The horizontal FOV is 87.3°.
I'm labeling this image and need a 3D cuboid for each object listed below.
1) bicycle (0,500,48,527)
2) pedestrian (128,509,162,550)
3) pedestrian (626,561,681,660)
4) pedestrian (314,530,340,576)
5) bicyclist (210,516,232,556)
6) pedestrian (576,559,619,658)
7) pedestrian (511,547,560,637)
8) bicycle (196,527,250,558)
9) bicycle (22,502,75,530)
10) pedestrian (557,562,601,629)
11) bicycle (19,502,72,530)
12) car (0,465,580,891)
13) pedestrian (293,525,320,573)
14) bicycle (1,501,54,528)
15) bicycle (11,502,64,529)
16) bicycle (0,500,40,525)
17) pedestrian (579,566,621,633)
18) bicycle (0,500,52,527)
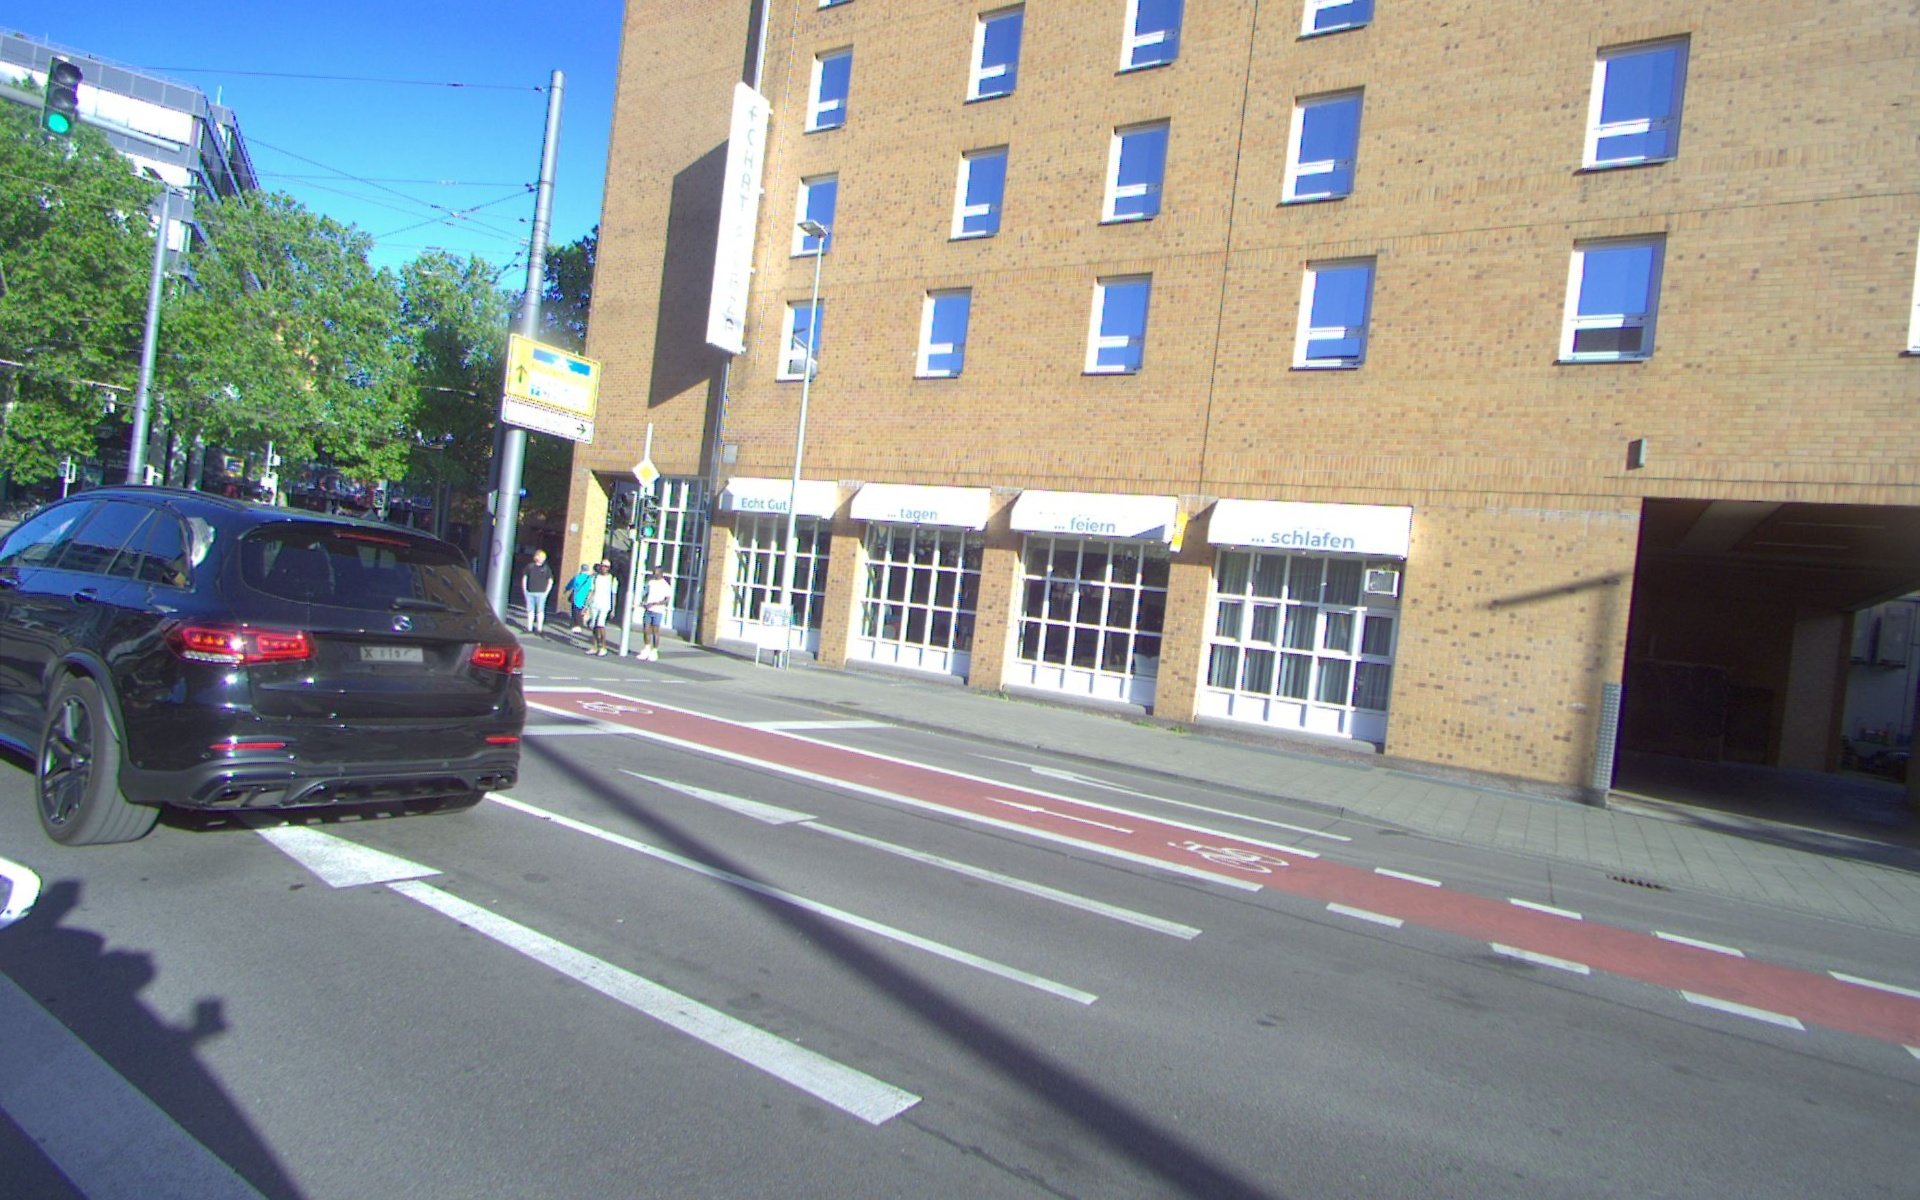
[{"bbox_3d":[-49.179,-4.539,52.744,0.354,1.058,1.885,7,-2,31],"label":"bicycle"},{"bbox_3d":[-37.189,-3.229,45.916,0.747,1.724,0.834,6,-1,32],"label":"pedestrian"},{"bbox_3d":[-5.866,0.207,19.241,0.673,1.802,0.591,6,1,43],"label":"pedestrian"},{"bbox_3d":[-21.980,-1.636,34.940,0.563,1.496,0.695,8,-2,-37],"label":"pedestrian"},{"bbox_3d":[-36.355,-3.148,49.490,0.396,1.859,0.585,6,-1,31],"label":"bicyclist"},{"bbox_3d":[-6.873,0.156,19.067,0.587,1.804,0.677,4,3,-27],"label":"pedestrian"},{"bbox_3d":[-9.054,-0.159,21.462,0.726,1.813,0.510,7,-1,-19],"label":"pedestrian"},{"bbox_3d":[-36.318,-2.824,49.596,0.414,1.228,2.046,6,-2,32],"label":"bicycle"},{"bbox_3d":[-46.025,-4.234,50.815,0.354,1.058,1.884,6,-2,31],"label":"bicycle"},{"bbox_3d":[-8.769,-0.100,23.140,0.591,1.470,0.593,6,0,32],"label":"pedestrian"},{"bbox_3d":[-46.620,-4.277,51.319,0.354,1.058,1.884,6,-2,31],"label":"bicycle"},{"bbox_3d":[-4.489,0.220,5.859,4.379,1.613,1.807,7,-2,32],"label":"car"},{"bbox_3d":[-22.382,-1.744,34.434,0.563,1.550,0.695,8,-1,-37],"label":"pedestrian"},{"bbox_3d":[-48.373,-4.439,52.213,0.354,1.058,1.884,6,-2,31],"label":"bicycle"},{"bbox_3d":[-47.351,-4.343,51.652,0.354,1.058,1.884,6,-2,31],"label":"bicycle"},{"bbox_3d":[-50.131,-4.645,53.348,0.354,1.058,1.885,7,-2,31],"label":"bicycle"},{"bbox_3d":[-8.479,-0.005,23.697,0.543,1.495,0.593,6,0,32],"label":"pedestrian"},{"bbox_3d":[-48.756,-4.489,52.499,0.354,1.058,1.885,7,-2,31],"label":"bicycle"}]
